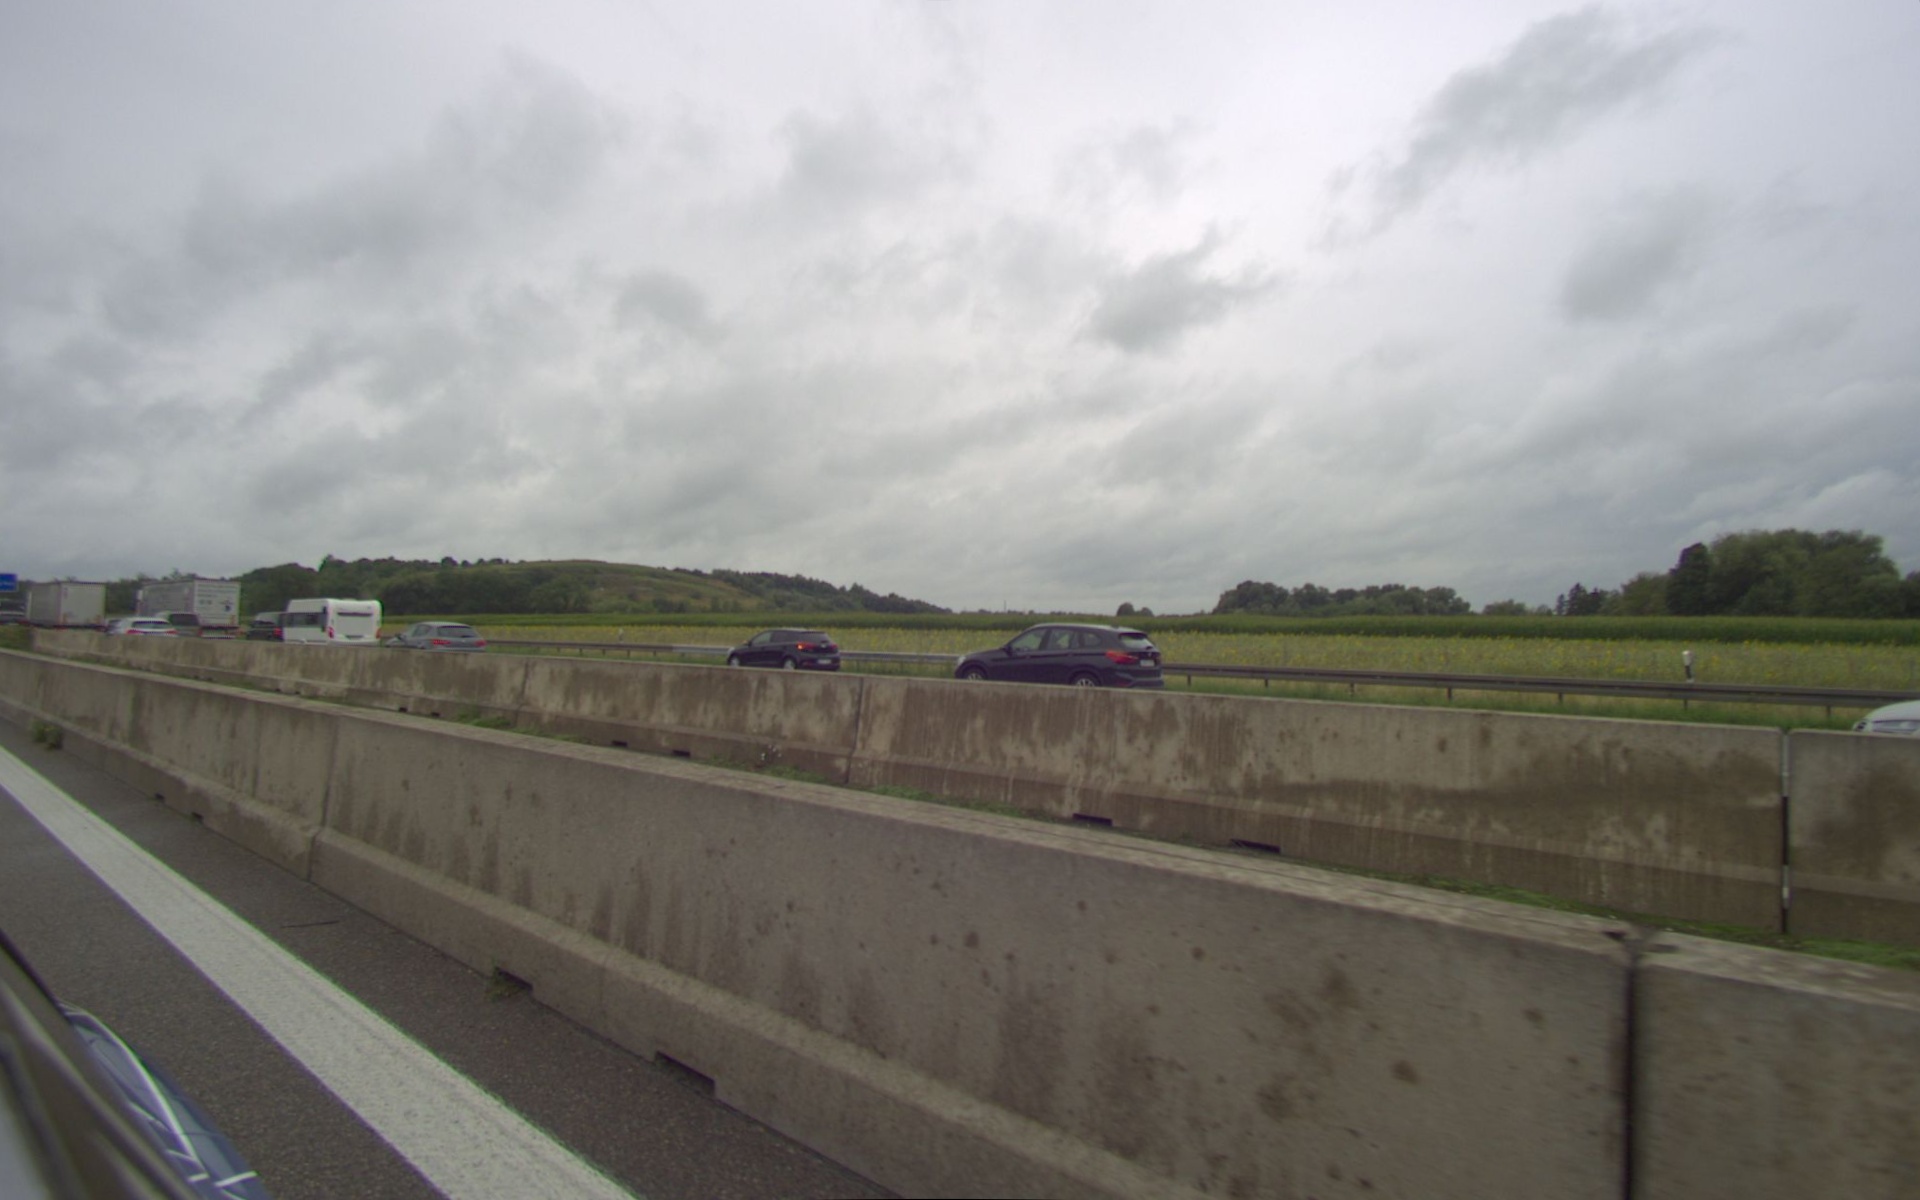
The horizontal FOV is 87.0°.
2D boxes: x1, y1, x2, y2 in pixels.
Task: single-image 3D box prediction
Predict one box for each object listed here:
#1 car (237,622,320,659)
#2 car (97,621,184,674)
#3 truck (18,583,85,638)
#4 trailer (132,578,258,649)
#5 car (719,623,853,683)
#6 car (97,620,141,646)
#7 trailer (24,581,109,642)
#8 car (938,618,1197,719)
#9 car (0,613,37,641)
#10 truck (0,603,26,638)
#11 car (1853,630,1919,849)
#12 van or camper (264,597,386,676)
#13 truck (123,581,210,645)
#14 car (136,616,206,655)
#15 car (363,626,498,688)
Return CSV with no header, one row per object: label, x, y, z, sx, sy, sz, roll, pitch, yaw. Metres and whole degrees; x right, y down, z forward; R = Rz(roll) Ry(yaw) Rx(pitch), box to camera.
car,-35.969,2.129,53.370,5.126,1.767,2.072,-1,1,37
car,-31.562,1.782,38.936,4.171,1.939,1.864,-1,-2,41
truck,-69.674,0.777,77.581,6.369,4.005,3.060,0,1,41
trailer,-51.460,0.813,67.756,15.618,4.303,3.674,0,1,42
car,-5.337,1.556,30.767,3.996,1.607,1.866,0,1,40
car,-66.888,2.627,80.468,4.619,2.029,1.972,-1,-2,41
trailer,-64.763,0.772,73.218,12.325,4.119,3.054,0,1,42
car,2.009,1.236,19.937,4.799,1.723,2.071,-1,-1,42
car,-61.731,1.767,65.808,5.069,1.778,1.973,-1,-2,41
truck,-130.493,2.732,137.725,11.777,4.517,3.477,0,1,40
car,10.138,1.112,7.517,5.161,1.723,2.072,-1,-1,40
van or camper,-31.233,1.689,49.642,7.692,3.529,2.682,0,0,39
truck,-57.009,0.872,72.663,7.588,4.306,3.578,0,1,41
car,-40.810,1.815,52.310,5.275,1.939,1.863,-1,-2,41
car,-16.250,1.664,30.953,4.797,1.723,2.040,-1,-1,41
